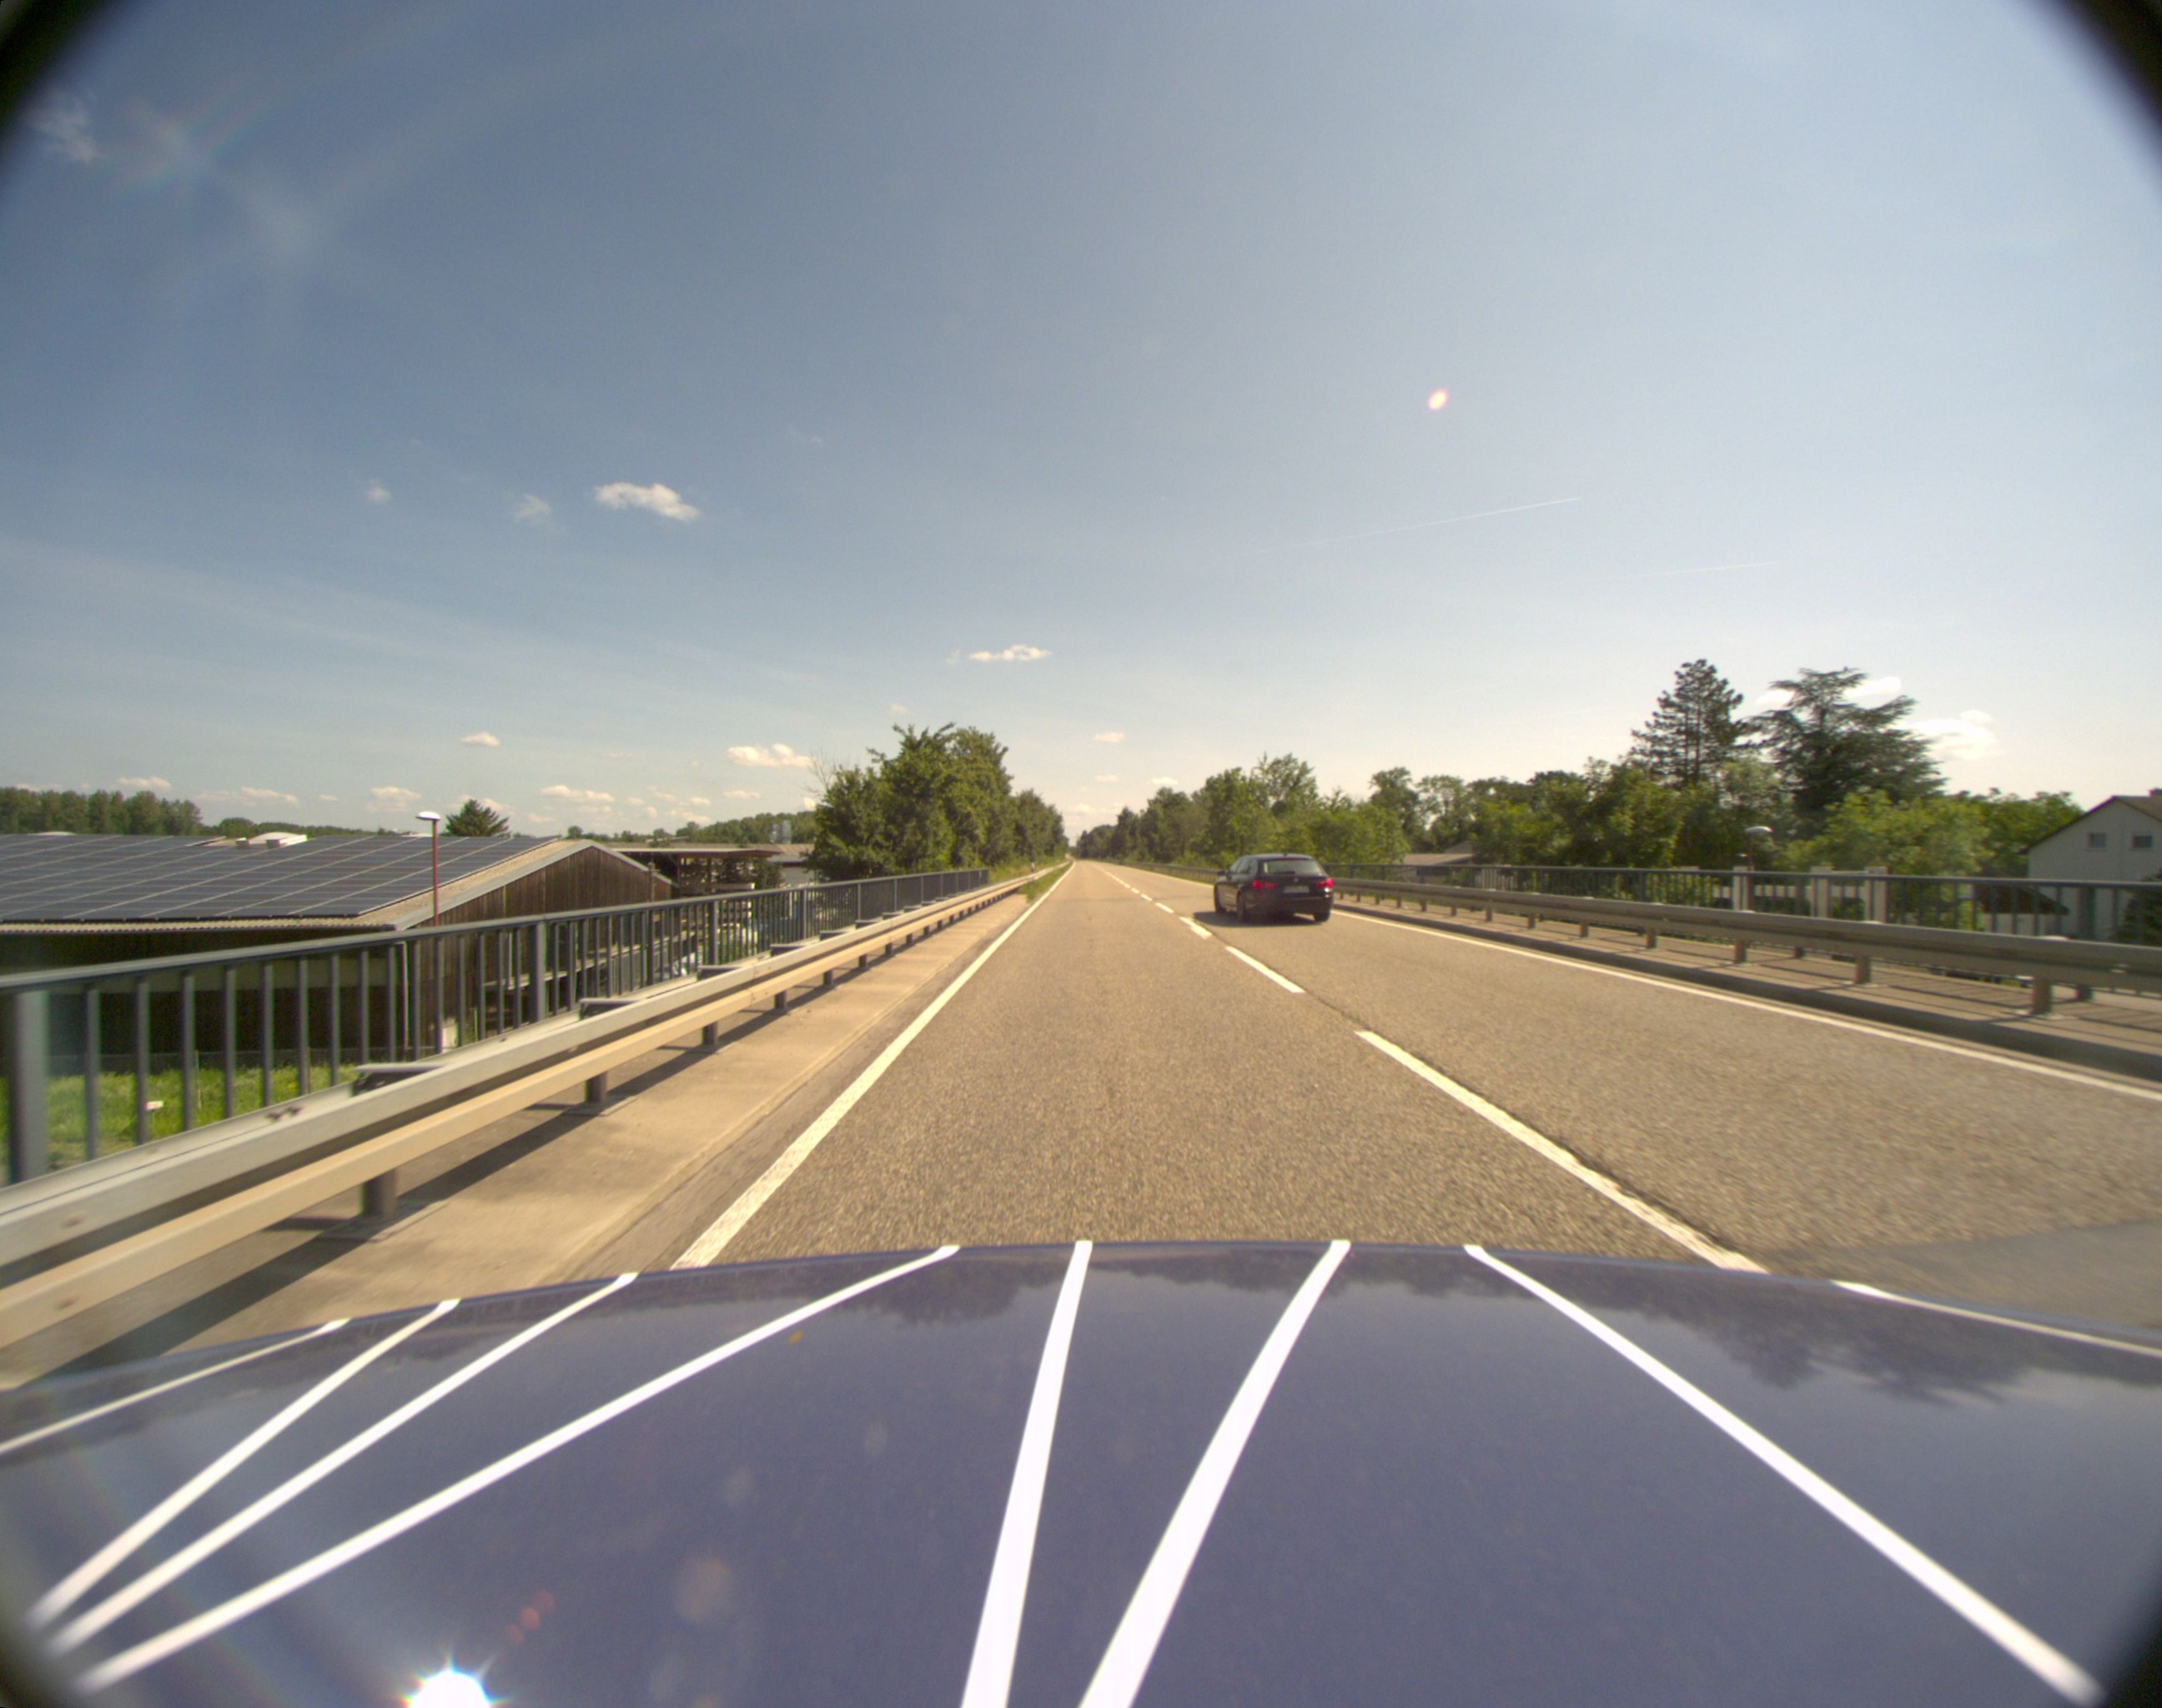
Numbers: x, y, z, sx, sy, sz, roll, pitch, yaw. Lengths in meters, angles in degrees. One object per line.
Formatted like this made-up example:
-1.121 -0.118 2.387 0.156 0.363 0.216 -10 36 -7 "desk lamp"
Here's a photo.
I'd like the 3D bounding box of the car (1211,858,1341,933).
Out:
4.202 0.822 17.125 1.750 1.416 4.677 -1 0 1 "car"
